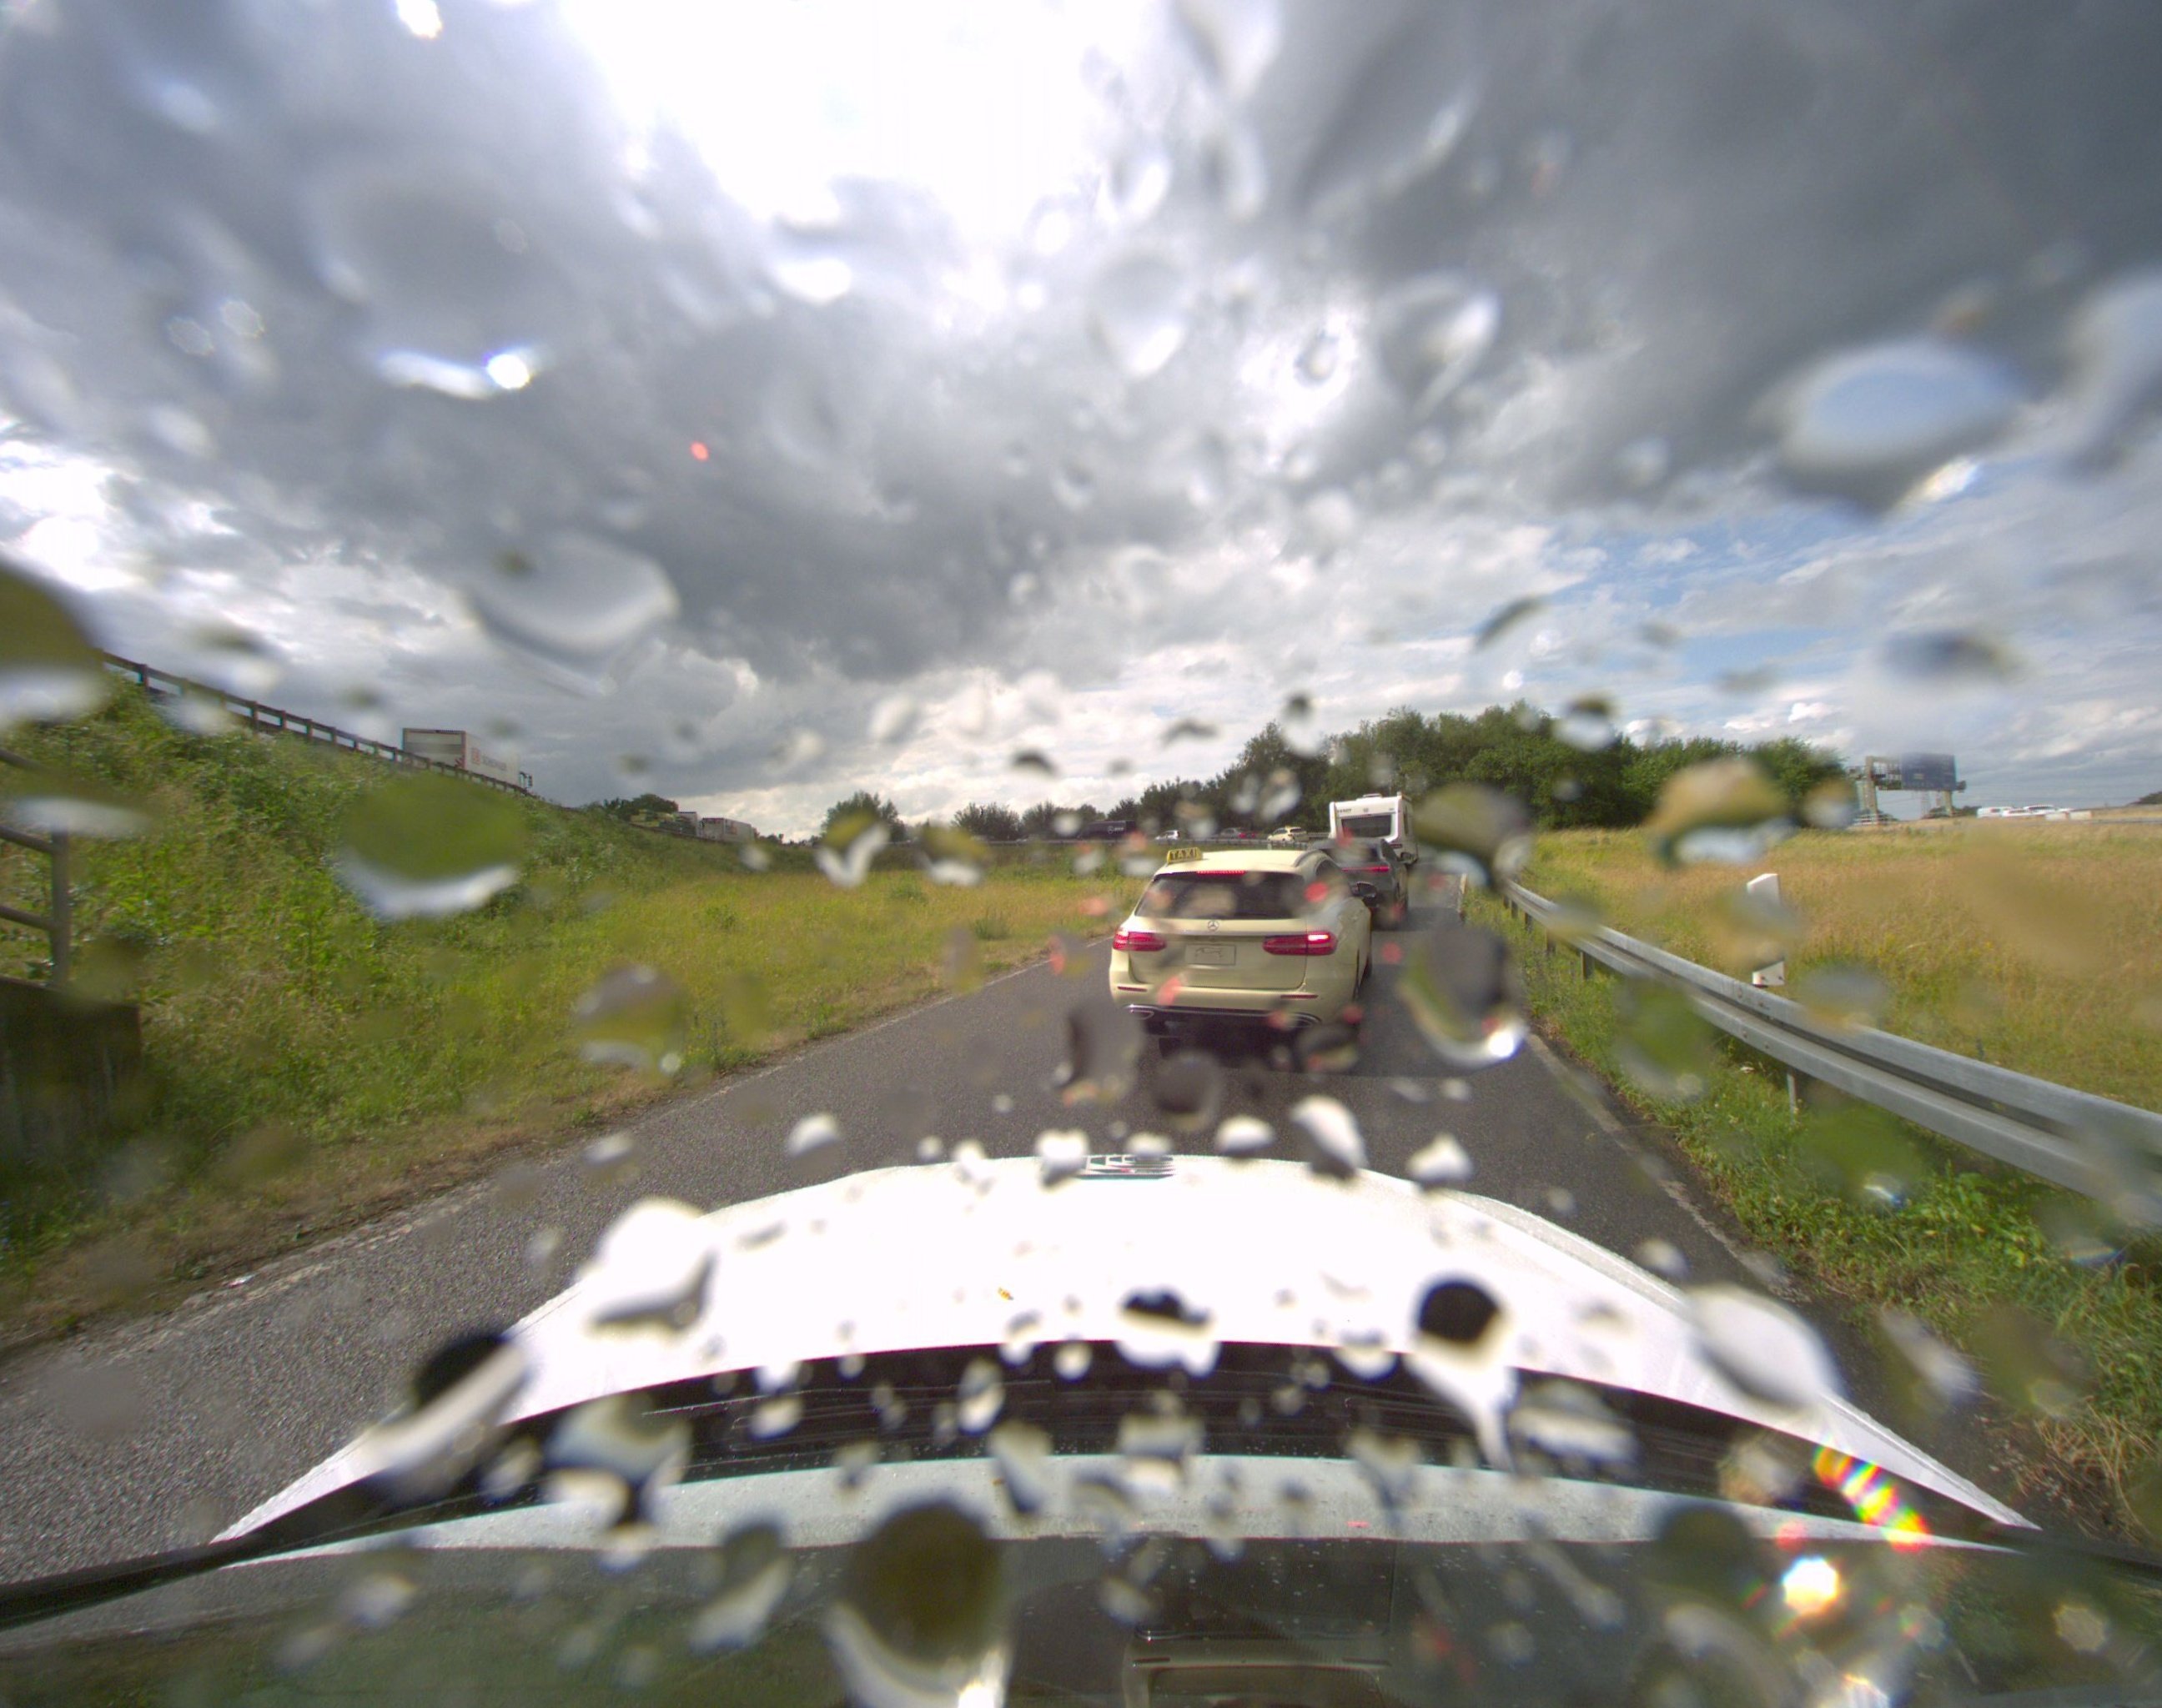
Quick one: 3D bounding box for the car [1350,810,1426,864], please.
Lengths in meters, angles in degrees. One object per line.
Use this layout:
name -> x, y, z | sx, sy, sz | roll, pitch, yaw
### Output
car -> 12.749, -0.765, 33.530 | 2.406, 1.925, 5.795 | -2, 2, 25

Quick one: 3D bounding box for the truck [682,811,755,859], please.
truck -> -45.688, -2.145, 103.541 | 4.464, 4.504, 19.290 | -1, -3, -12

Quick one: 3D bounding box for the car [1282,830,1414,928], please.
car -> 5.008, 0.378, 14.937 | 1.702, 1.525, 4.024 | -3, 0, 26

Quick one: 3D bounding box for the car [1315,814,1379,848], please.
car -> 17.510, -1.475, 53.931 | 1.992, 1.861, 5.044 | -3, -1, -7

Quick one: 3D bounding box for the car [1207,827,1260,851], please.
car -> 13.528, -1.327, 72.574 | 2.003, 1.861, 5.015 | -3, -1, -25

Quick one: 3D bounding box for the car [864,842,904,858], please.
car -> -25.174, -0.497, 104.304 | 4.465, 1.861, 2.007 | -3, -1, 13

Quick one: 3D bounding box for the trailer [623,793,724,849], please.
trailer -> -41.704, -3.132, 84.582 | 4.417, 3.956, 20.129 | -1, -3, -12

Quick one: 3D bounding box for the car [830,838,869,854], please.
car -> -31.428, -1.112, 110.447 | 4.992, 1.861, 2.012 | -4, -1, 29

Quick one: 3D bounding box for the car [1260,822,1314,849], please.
car -> 15.767, -1.349, 62.670 | 1.994, 1.861, 5.039 | -4, 1, -10

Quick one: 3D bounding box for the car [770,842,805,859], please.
car -> -36.821, -0.451, 102.221 | 3.998, 2.014, 1.815 | -1, -3, -18

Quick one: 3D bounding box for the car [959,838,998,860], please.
car -> -12.135, -0.589, 96.612 | 3.949, 2.012, 2.014 | -7, 3, 29

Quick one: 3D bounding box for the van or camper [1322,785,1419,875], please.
van or camper -> 10.140, -0.865, 28.153 | 2.408, 2.729, 6.038 | -2, 2, 26

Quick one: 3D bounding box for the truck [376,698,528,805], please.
truck -> -32.278, -5.019, 42.416 | 3.188, 3.967, 9.181 | -1, -3, -17

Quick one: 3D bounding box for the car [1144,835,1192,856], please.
car -> 8.597, -0.817, 81.066 | 2.008, 1.861, 5.005 | -2, -1, -33

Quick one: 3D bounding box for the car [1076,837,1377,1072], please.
car -> 1.717, 0.625, 7.722 | 1.899, 1.507, 4.620 | -2, 1, 21

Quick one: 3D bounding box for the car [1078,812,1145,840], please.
car -> 3.207, -2.945, 87.225 | 6.895, 2.595, 2.893 | -2, 1, 42

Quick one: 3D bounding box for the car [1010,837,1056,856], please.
car -> -5.530, -0.814, 92.928 | 4.991, 1.861, 2.013 | -4, -1, 34

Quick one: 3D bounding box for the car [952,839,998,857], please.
car -> -12.593, -0.708, 96.737 | 4.997, 1.861, 2.010 | -3, -1, 21
